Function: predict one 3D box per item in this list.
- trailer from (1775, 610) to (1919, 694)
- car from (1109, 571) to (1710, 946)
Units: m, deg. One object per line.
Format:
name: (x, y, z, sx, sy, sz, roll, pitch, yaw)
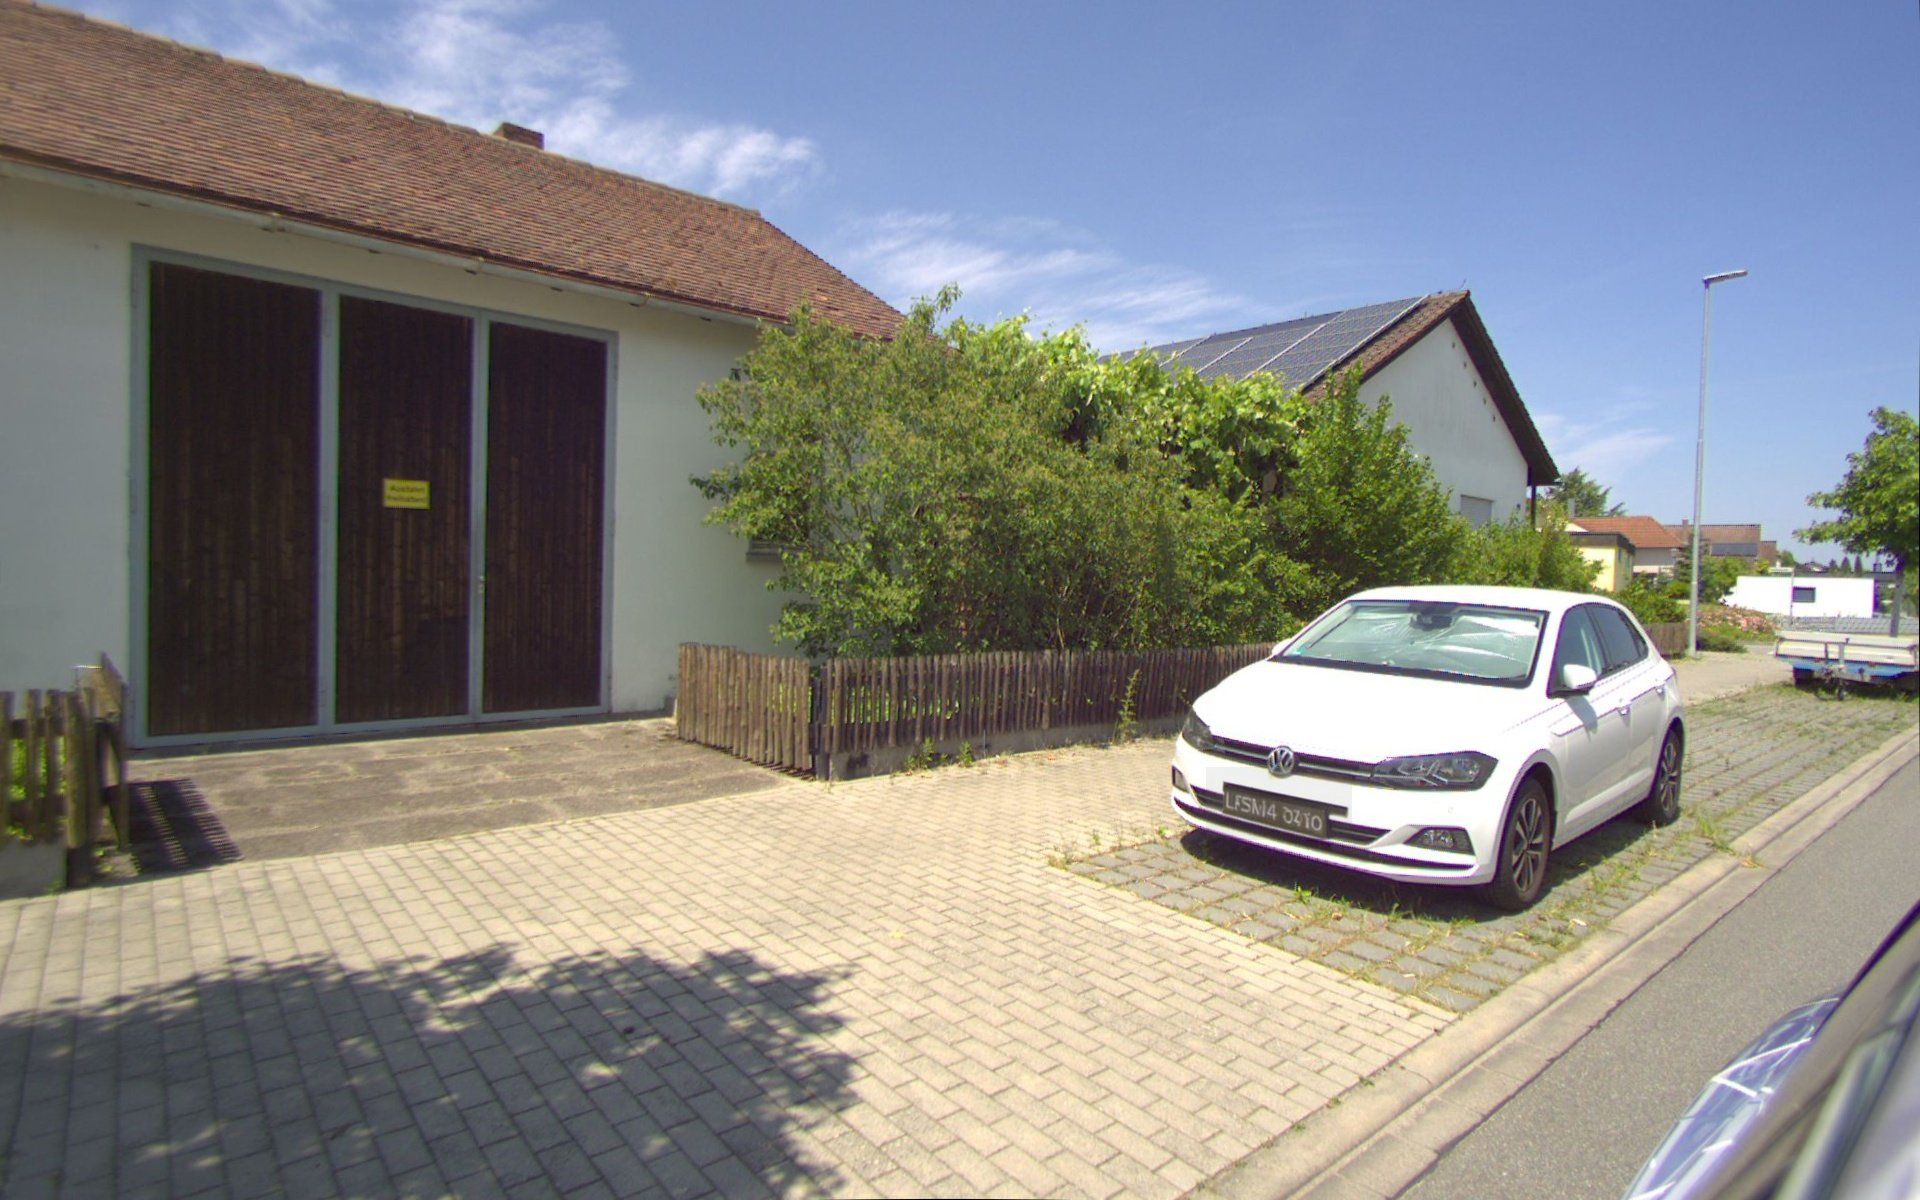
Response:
trailer: (13.894, 0.740, 15.415, 2.847, 1.071, 1.791, 0, 2, -40)
car: (2.797, 0.593, 5.893, 3.802, 1.437, 1.817, 0, 2, -42)
